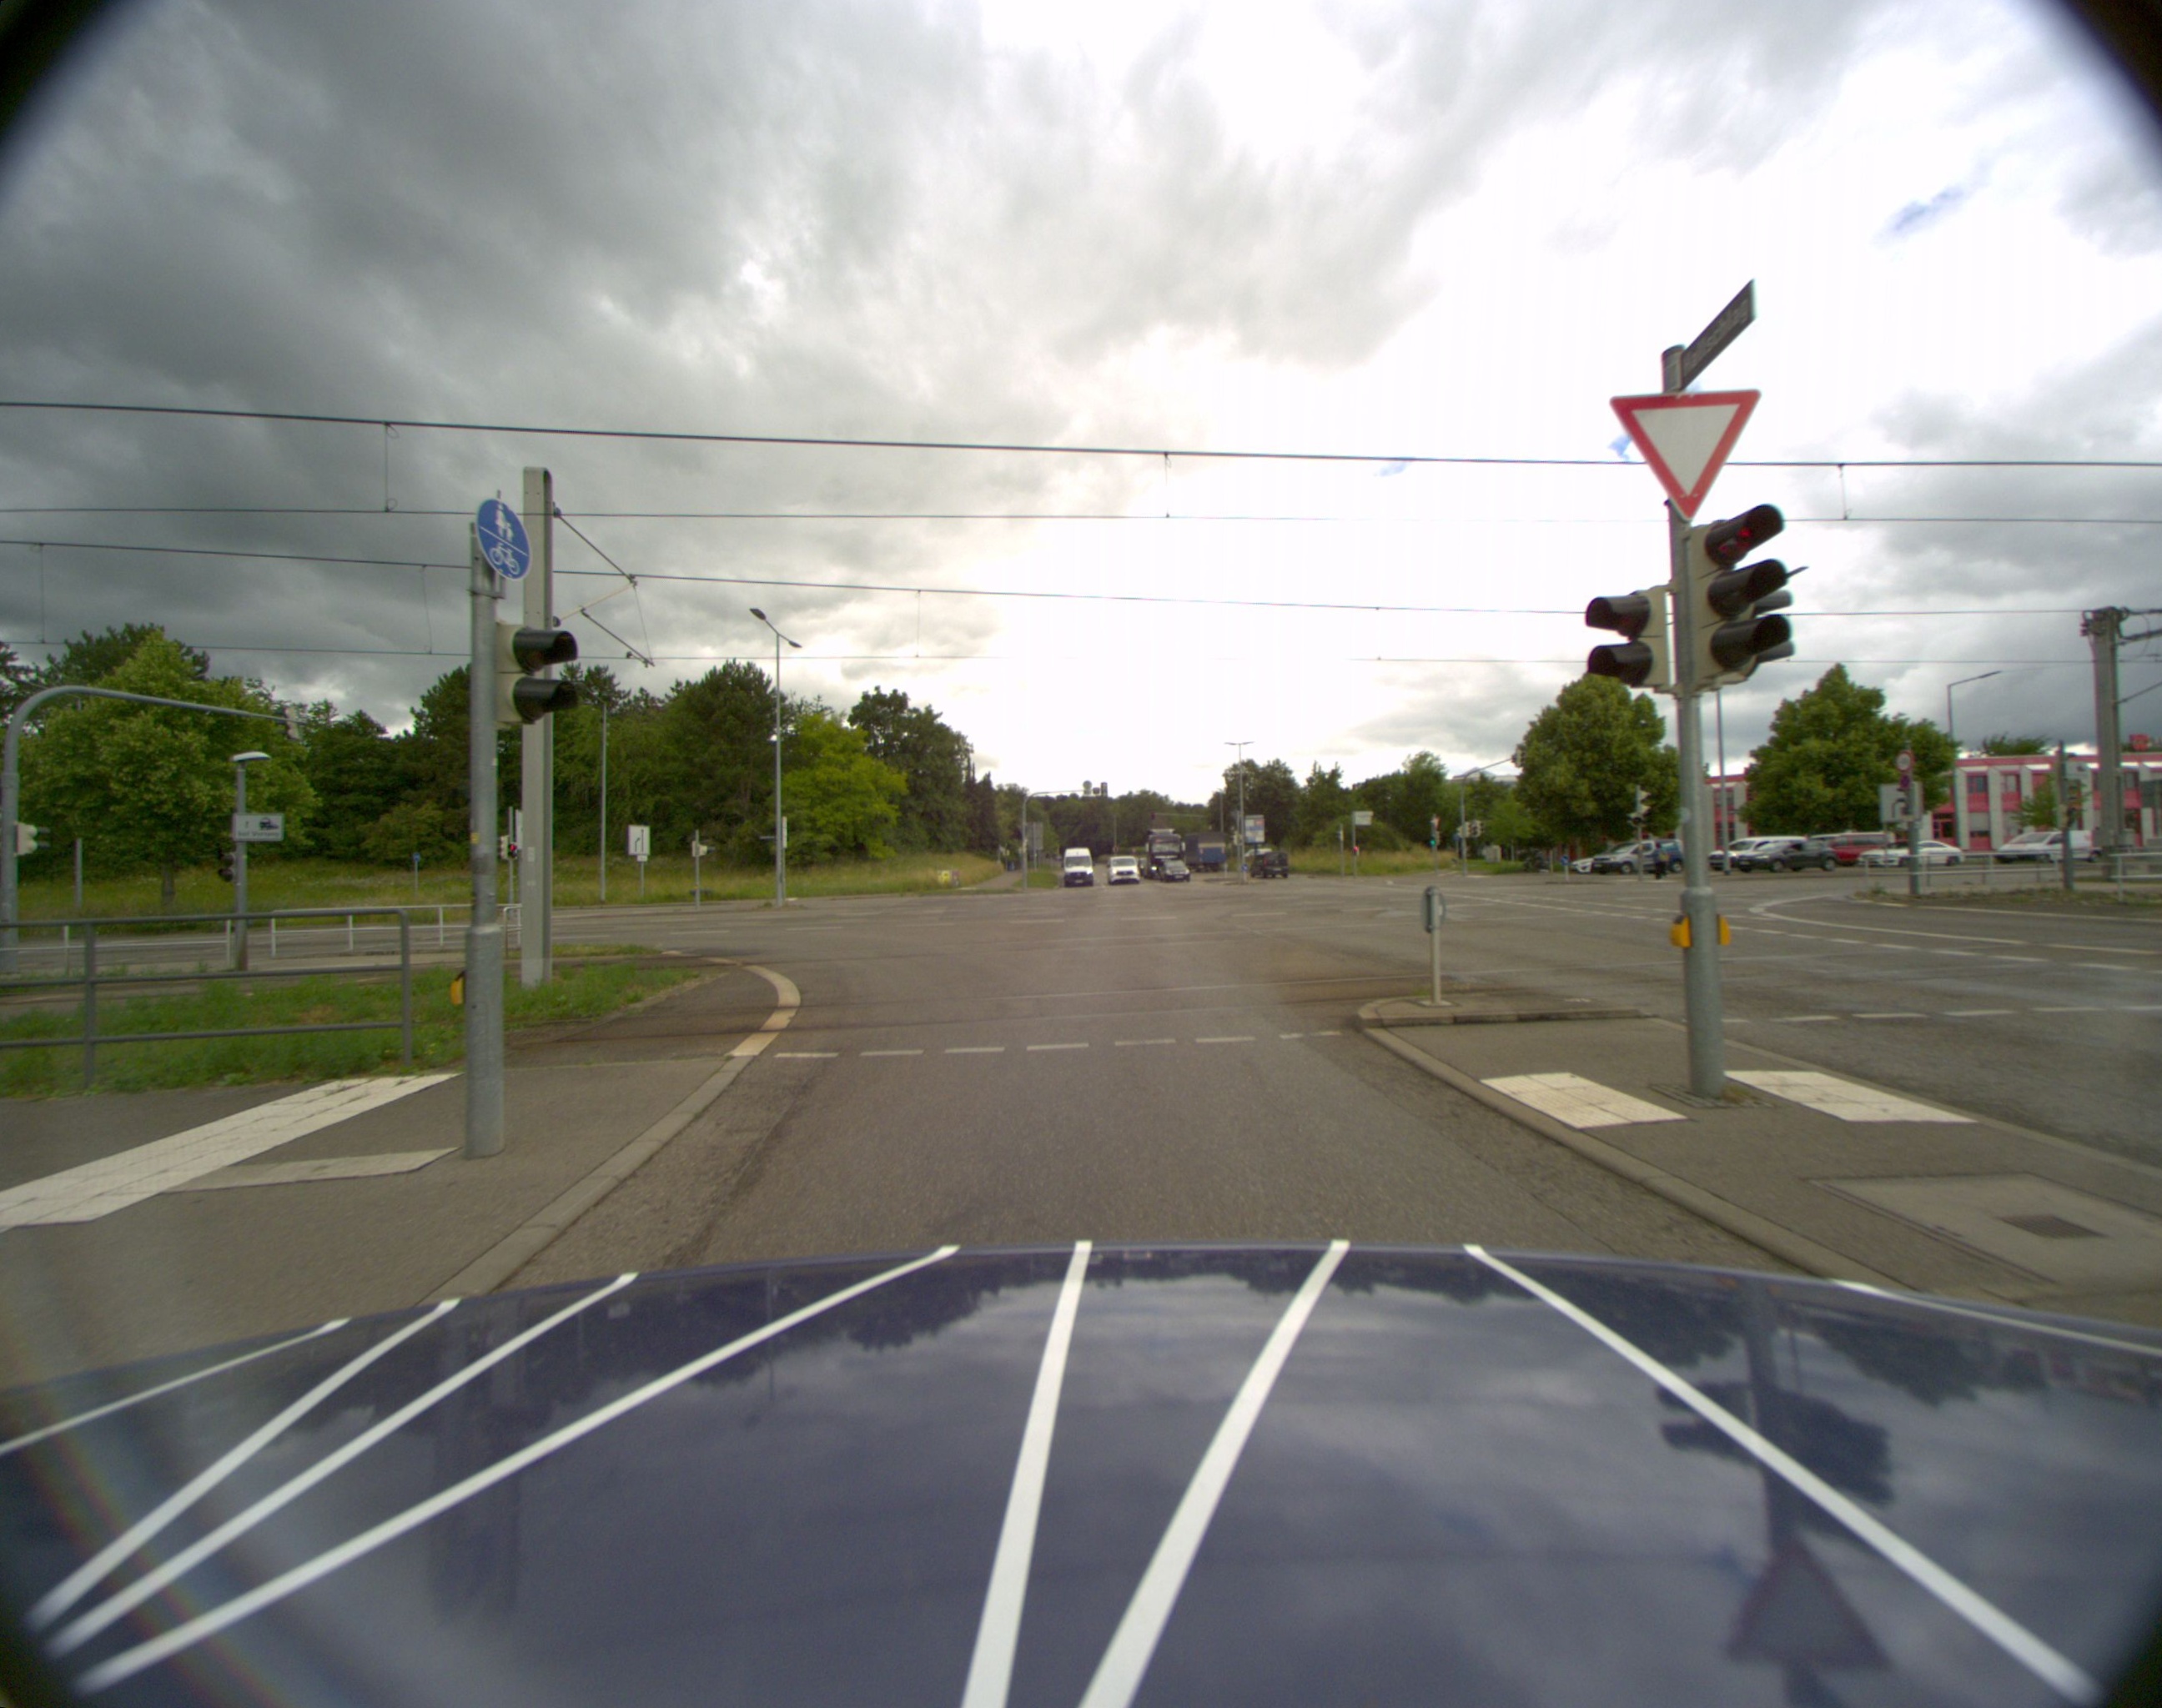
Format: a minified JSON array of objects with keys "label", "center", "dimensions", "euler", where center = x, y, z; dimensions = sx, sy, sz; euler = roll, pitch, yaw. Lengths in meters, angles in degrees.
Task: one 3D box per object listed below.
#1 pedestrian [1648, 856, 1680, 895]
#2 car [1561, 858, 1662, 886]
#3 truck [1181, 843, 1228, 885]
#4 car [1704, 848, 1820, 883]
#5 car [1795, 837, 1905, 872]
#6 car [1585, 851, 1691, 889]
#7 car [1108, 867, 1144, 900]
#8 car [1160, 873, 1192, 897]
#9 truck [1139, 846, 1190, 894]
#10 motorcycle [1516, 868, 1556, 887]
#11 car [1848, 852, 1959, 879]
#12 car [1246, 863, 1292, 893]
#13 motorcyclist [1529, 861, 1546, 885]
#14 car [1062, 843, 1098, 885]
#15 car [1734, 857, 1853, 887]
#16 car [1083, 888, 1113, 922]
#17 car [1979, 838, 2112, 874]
[{"label":"pedestrian","center":[23.295,0.868,30.385],"dimensions":[0.670,1.521,0.716],"euler":[-2,0,1]},{"label":"car","center":[31.194,1.076,44.761],"dimensions":[4.509,1.411,1.837],"euler":[-2,-2,4]},{"label":"truck","center":[12.078,0.990,74.932],"dimensions":[2.786,3.781,8.387],"euler":[-2,0,-2]},{"label":"car","center":[36.566,0.627,40.879],"dimensions":[4.694,1.781,1.814],"euler":[-1,0,-2]},{"label":"car","center":[44.766,0.022,44.292],"dimensions":[4.453,1.894,2.184],"euler":[1,0,-6]},{"label":"car","center":[29.176,0.826,39.879],"dimensions":[4.219,1.769,1.814],"euler":[-2,0,-2]},{"label":"car","center":[3.116,2.040,53.578],"dimensions":[2.119,1.979,4.988],"euler":[-4,0,1]},{"label":"car","center":[6.548,2.115,52.514],"dimensions":[1.635,1.433,3.866],"euler":[-2,0,-1]},{"label":"truck","center":[6.561,1.211,60.579],"dimensions":[3.073,3.497,5.960],"euler":[-3,0,-2]},{"label":"motorcycle","center":[27.366,1.425,45.717],"dimensions":[2.064,1.084,0.761],"euler":[-2,-1,31]},{"label":"car","center":[44.108,0.595,40.790],"dimensions":[4.221,1.333,1.814],"euler":[1,0,-4]},{"label":"car","center":[13.126,1.650,53.368],"dimensions":[1.998,1.865,4.891],"euler":[-2,0,1]},{"label":"motorcyclist","center":[27.425,1.117,45.675],"dimensions":[0.815,1.413,0.761],"euler":[-2,-1,31]},{"label":"car","center":[-0.141,0.665,52.857],"dimensions":[2.227,2.643,5.960],"euler":[-3,0,-2]},{"label":"car","center":[34.682,0.873,37.047],"dimensions":[4.220,1.333,1.814],"euler":[1,0,-3]},{"label":"car","center":[1.393,4.271,64.073],"dimensions":[2.226,2.372,5.960],"euler":[-3,0,0]},{"label":"car","center":[56.531,0.121,44.599],"dimensions":[5.233,1.894,1.951],"euler":[-2,0,0]}]
